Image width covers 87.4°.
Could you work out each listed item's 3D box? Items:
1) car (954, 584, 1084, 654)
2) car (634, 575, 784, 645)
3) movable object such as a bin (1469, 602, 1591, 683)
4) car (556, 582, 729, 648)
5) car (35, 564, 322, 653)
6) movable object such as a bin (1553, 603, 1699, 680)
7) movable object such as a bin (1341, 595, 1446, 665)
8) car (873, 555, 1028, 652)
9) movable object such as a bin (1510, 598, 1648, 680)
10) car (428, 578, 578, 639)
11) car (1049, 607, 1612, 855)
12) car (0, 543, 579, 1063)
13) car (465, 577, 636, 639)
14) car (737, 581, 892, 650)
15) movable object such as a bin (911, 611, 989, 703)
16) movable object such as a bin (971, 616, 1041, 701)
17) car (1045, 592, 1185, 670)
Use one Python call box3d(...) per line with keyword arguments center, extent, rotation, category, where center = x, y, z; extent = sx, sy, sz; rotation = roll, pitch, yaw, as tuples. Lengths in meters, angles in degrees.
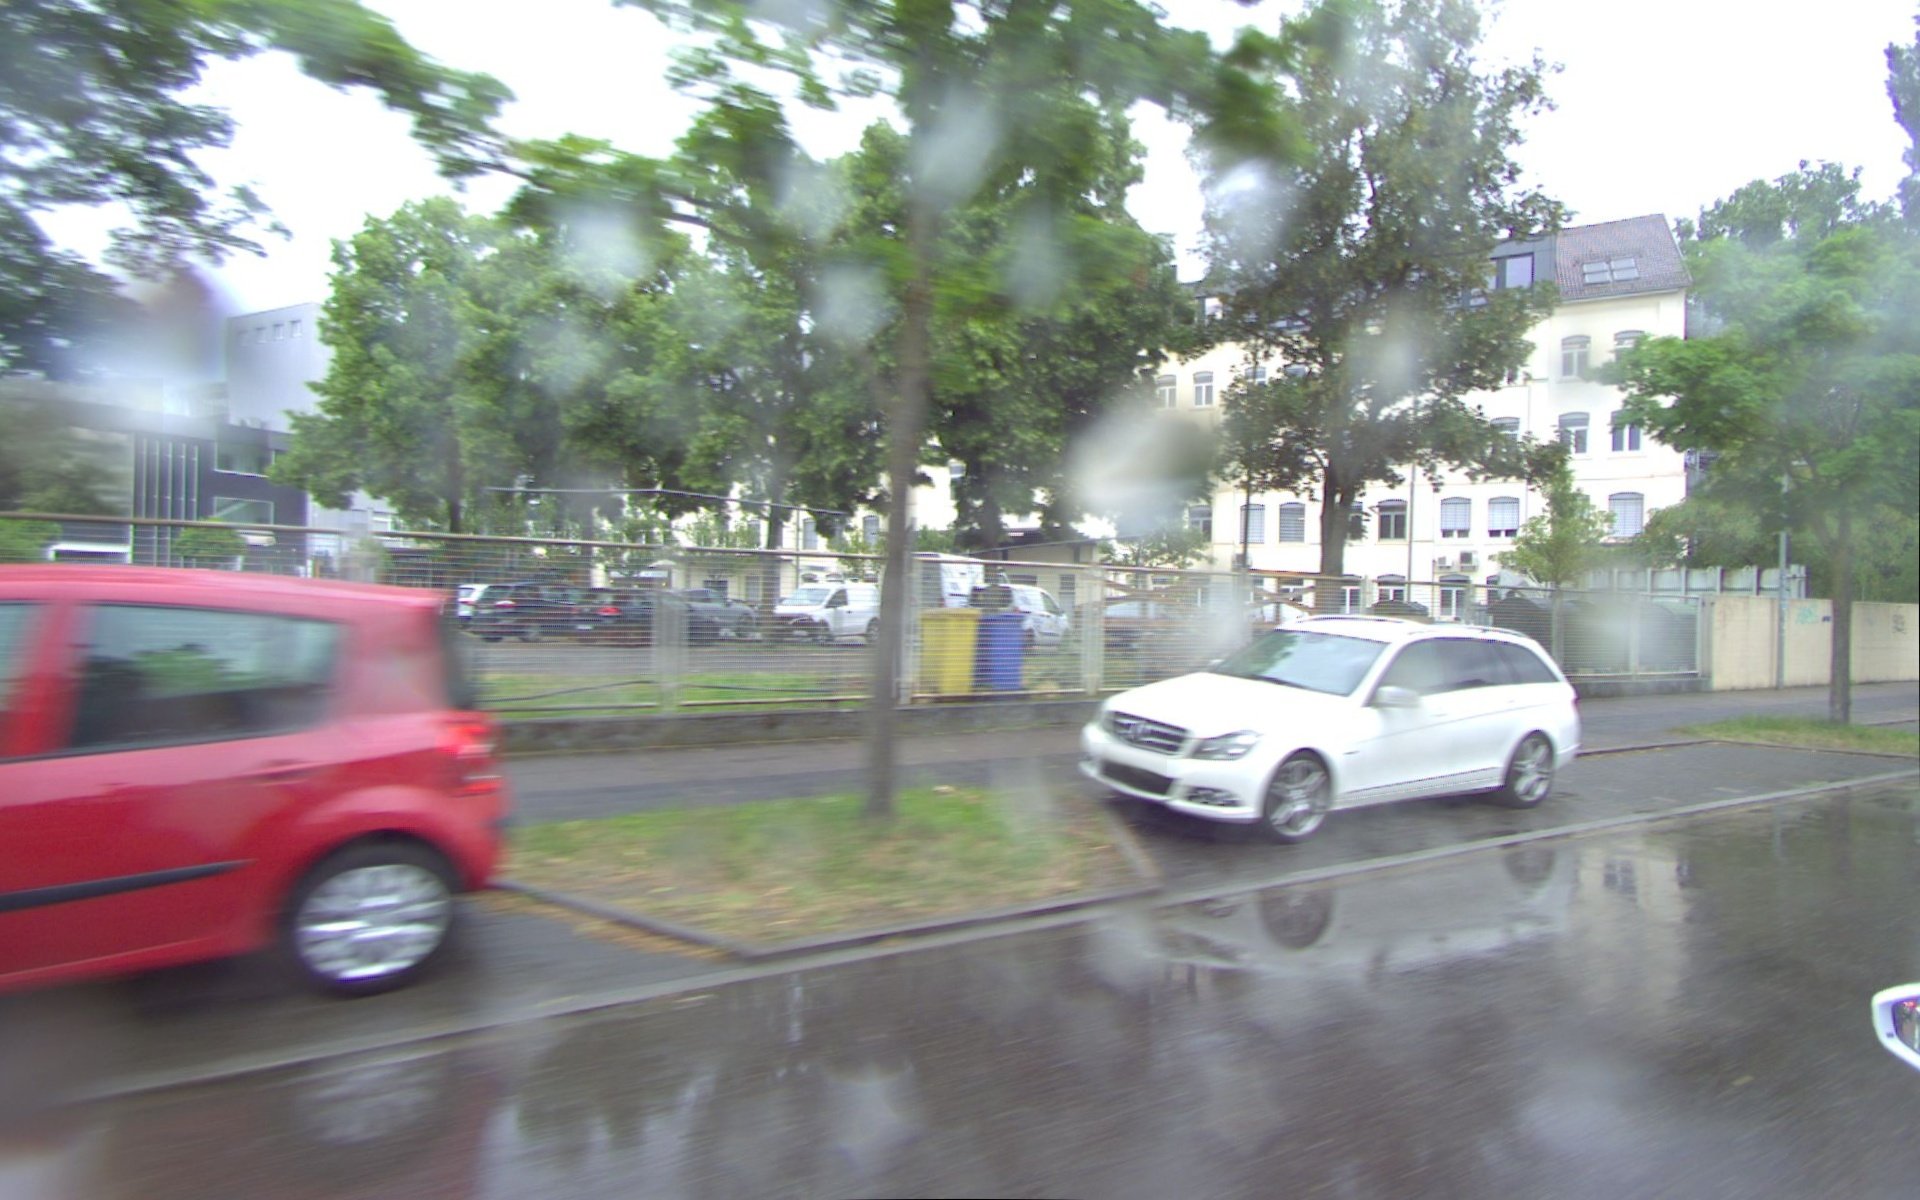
box3d(center=(1.652, 0.483, 26.474), extent=(1.717, 1.662, 4.140), rotation=(2, 0, 30), category="car")
box3d(center=(-8.161, 0.340, 33.117), extent=(2.112, 2.111, 4.711), rotation=(2, 0, 30), category="car")
box3d(center=(10.395, 0.748, 18.352), extent=(1.247, 1.385, 1.484), rotation=(2, 0, -29), category="movable object such as a bin")
box3d(center=(-7.913, 0.376, 25.379), extent=(1.729, 1.514, 3.990), rotation=(2, 0, 32), category="car")
box3d(center=(-14.842, 0.170, 19.290), extent=(1.729, 1.514, 3.990), rotation=(2, 0, 32), category="car")
box3d(center=(13.579, 0.826, 20.517), extent=(1.735, 1.443, 1.901), rotation=(2, 0, -29), category="movable object such as a bin")
box3d(center=(9.141, 0.628, 21.195), extent=(1.767, 1.385, 1.210), rotation=(2, 0, -30), category="movable object such as a bin")
box3d(center=(-0.148, 0.108, 27.606), extent=(2.112, 2.428, 4.711), rotation=(2, 0, 30), category="car")
box3d(center=(11.882, 0.727, 19.310), extent=(1.809, 1.461, 1.552), rotation=(2, 0, -29), category="movable object such as a bin")
box3d(center=(-16.994, 0.322, 37.594), extent=(2.112, 2.100, 4.711), rotation=(2, 0, 30), category="car")
box3d(center=(3.112, 0.872, 8.096), extent=(4.627, 1.479, 1.765), rotation=(2, 0, -31), category="car")
box3d(center=(-3.567, 0.619, 3.702), extent=(3.759, 1.619, 1.614), rotation=(2, 0, -34), category="car")
box3d(center=(-10.884, 0.217, 26.955), extent=(1.729, 1.514, 3.990), rotation=(2, 0, 32), category="car")
box3d(center=(-4.244, 0.454, 30.085), extent=(2.112, 1.847, 4.711), rotation=(2, 0, 30), category="car")
box3d(center=(-0.116, 0.644, 11.497), extent=(0.705, 0.998, 0.543), rotation=(2, 0, -29), category="movable object such as a bin")
box3d(center=(0.540, 0.680, 11.866), extent=(0.630, 0.961, 0.535), rotation=(2, 0, -29), category="movable object such as a bin")
box3d(center=(3.794, 0.711, 23.995), extent=(1.964, 1.662, 3.992), rotation=(2, 0, 30), category="car")
